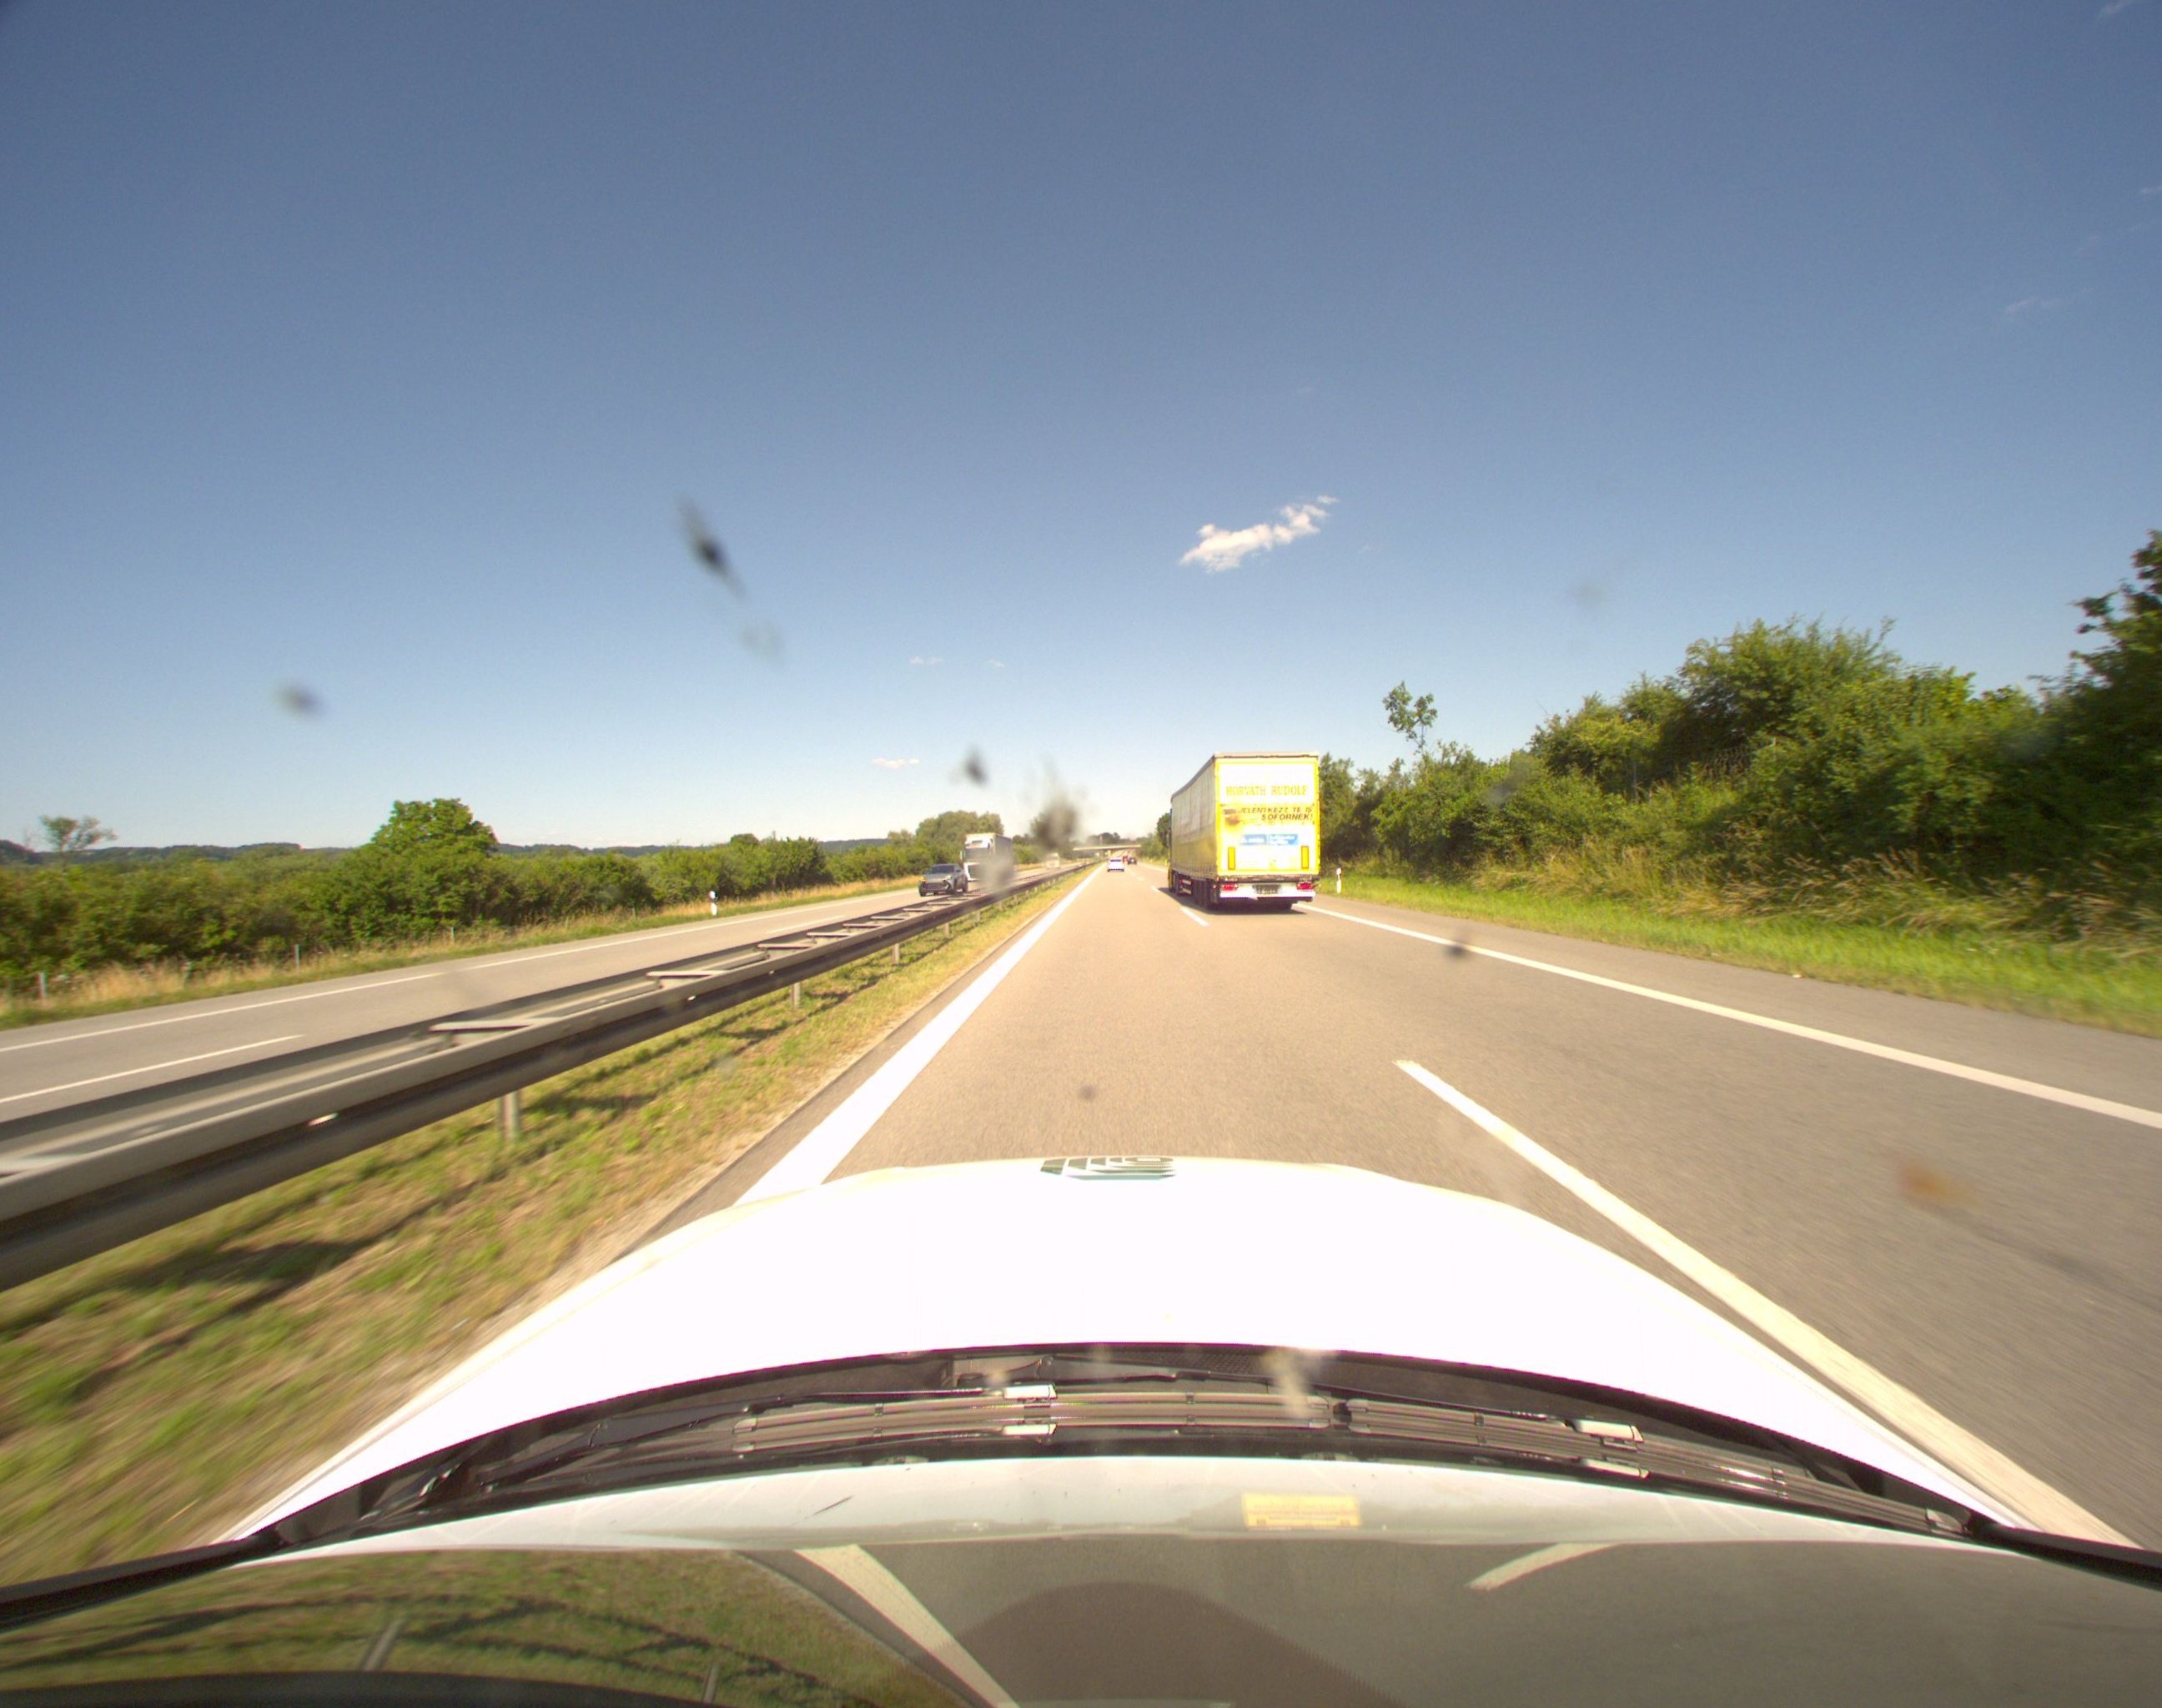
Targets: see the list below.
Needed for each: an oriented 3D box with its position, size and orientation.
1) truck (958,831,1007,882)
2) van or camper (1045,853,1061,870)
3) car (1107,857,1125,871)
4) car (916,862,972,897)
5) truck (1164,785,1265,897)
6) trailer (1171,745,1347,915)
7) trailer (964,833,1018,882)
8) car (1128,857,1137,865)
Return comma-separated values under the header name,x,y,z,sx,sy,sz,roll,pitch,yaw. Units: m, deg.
name,x,y,z,sx,sy,sz,roll,pitch,yaw
truck,-8.533,0.236,71.618,3.158,4.114,6.389,-4,-1,1
van or camper,-4.391,1.156,129.835,1.986,2.497,7.231,-4,-1,2
car,3.738,1.027,86.186,1.835,1.416,4.002,0,-1,3
car,-6.990,1.262,42.020,1.719,1.582,4.770,-5,-1,2
truck,5.209,-0.455,33.026,3.158,4.114,6.389,0,-1,1
trailer,4.974,-0.524,26.078,3.172,4.059,13.192,0,-1,2
trailer,-8.428,0.332,78.361,3.174,4.059,14.598,-4,-1,1
car,10.154,1.375,160.411,1.835,1.520,4.002,0,-1,3
